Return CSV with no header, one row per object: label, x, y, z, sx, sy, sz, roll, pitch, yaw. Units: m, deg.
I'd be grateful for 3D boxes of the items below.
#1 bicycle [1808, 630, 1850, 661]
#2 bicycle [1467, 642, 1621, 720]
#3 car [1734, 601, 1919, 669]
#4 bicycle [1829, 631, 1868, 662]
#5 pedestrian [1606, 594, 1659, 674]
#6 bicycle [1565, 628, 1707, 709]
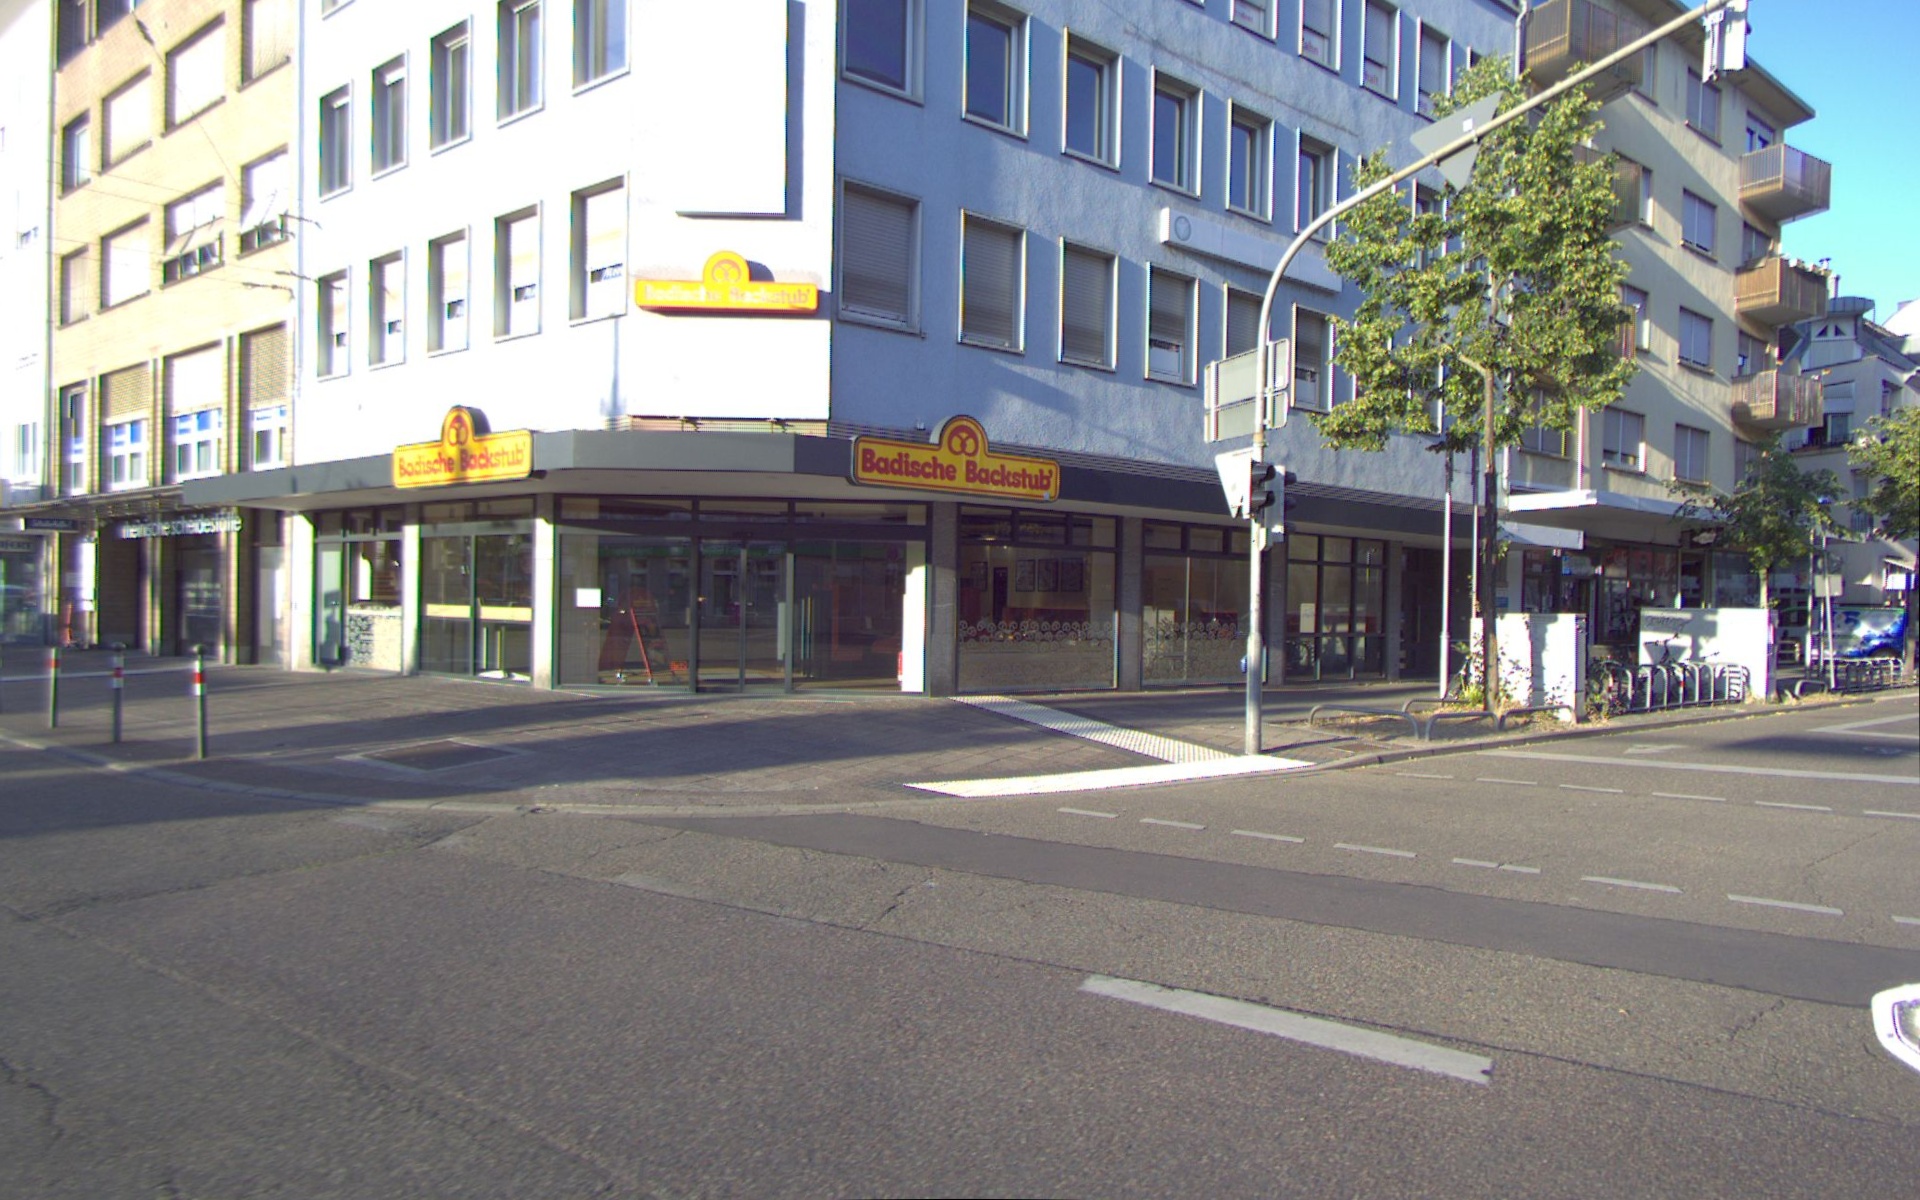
bicycle,29.684,1.550,34.319,1.994,1.005,0.487,2,1,-32
bicycle,8.994,1.223,15.560,0.487,1.005,1.995,2,1,-36
car,28.179,1.095,32.409,1.987,1.852,4.815,2,1,-45
bicycle,29.927,1.569,33.823,1.996,1.005,0.486,2,1,-35
pedestrian,15.997,0.788,23.911,0.732,1.872,0.766,0,1,-23
bicycle,11.810,1.164,17.619,0.486,1.235,1.998,2,1,-32
